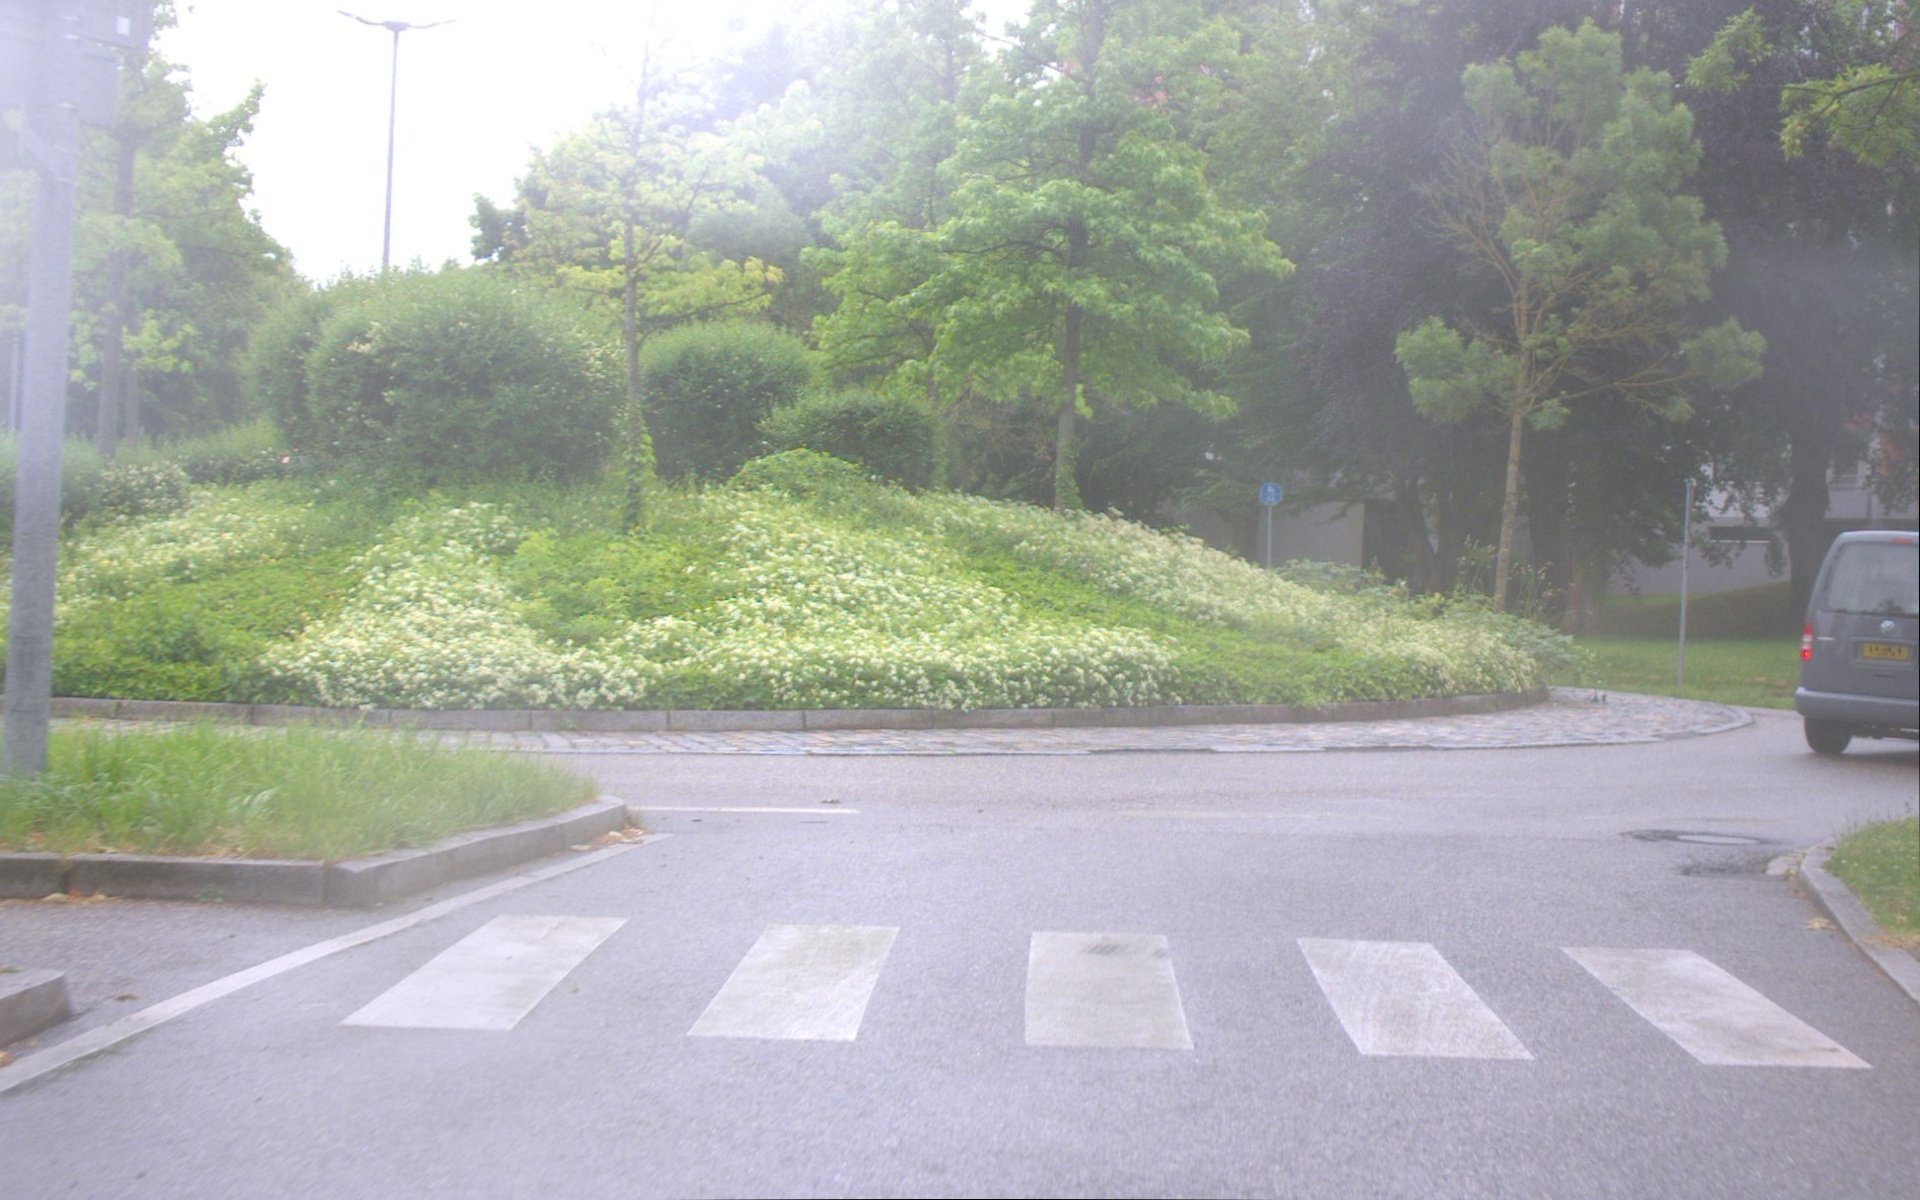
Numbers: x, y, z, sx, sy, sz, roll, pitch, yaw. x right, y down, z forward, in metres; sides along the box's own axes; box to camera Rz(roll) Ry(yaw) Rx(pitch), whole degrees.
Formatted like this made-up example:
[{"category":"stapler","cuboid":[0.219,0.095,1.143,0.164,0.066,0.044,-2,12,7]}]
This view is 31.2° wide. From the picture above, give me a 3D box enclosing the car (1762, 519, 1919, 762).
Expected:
[{"category":"car","cuboid":[8.257,0.311,27.923,1.923,1.795,3.781,4,3,37]}]
